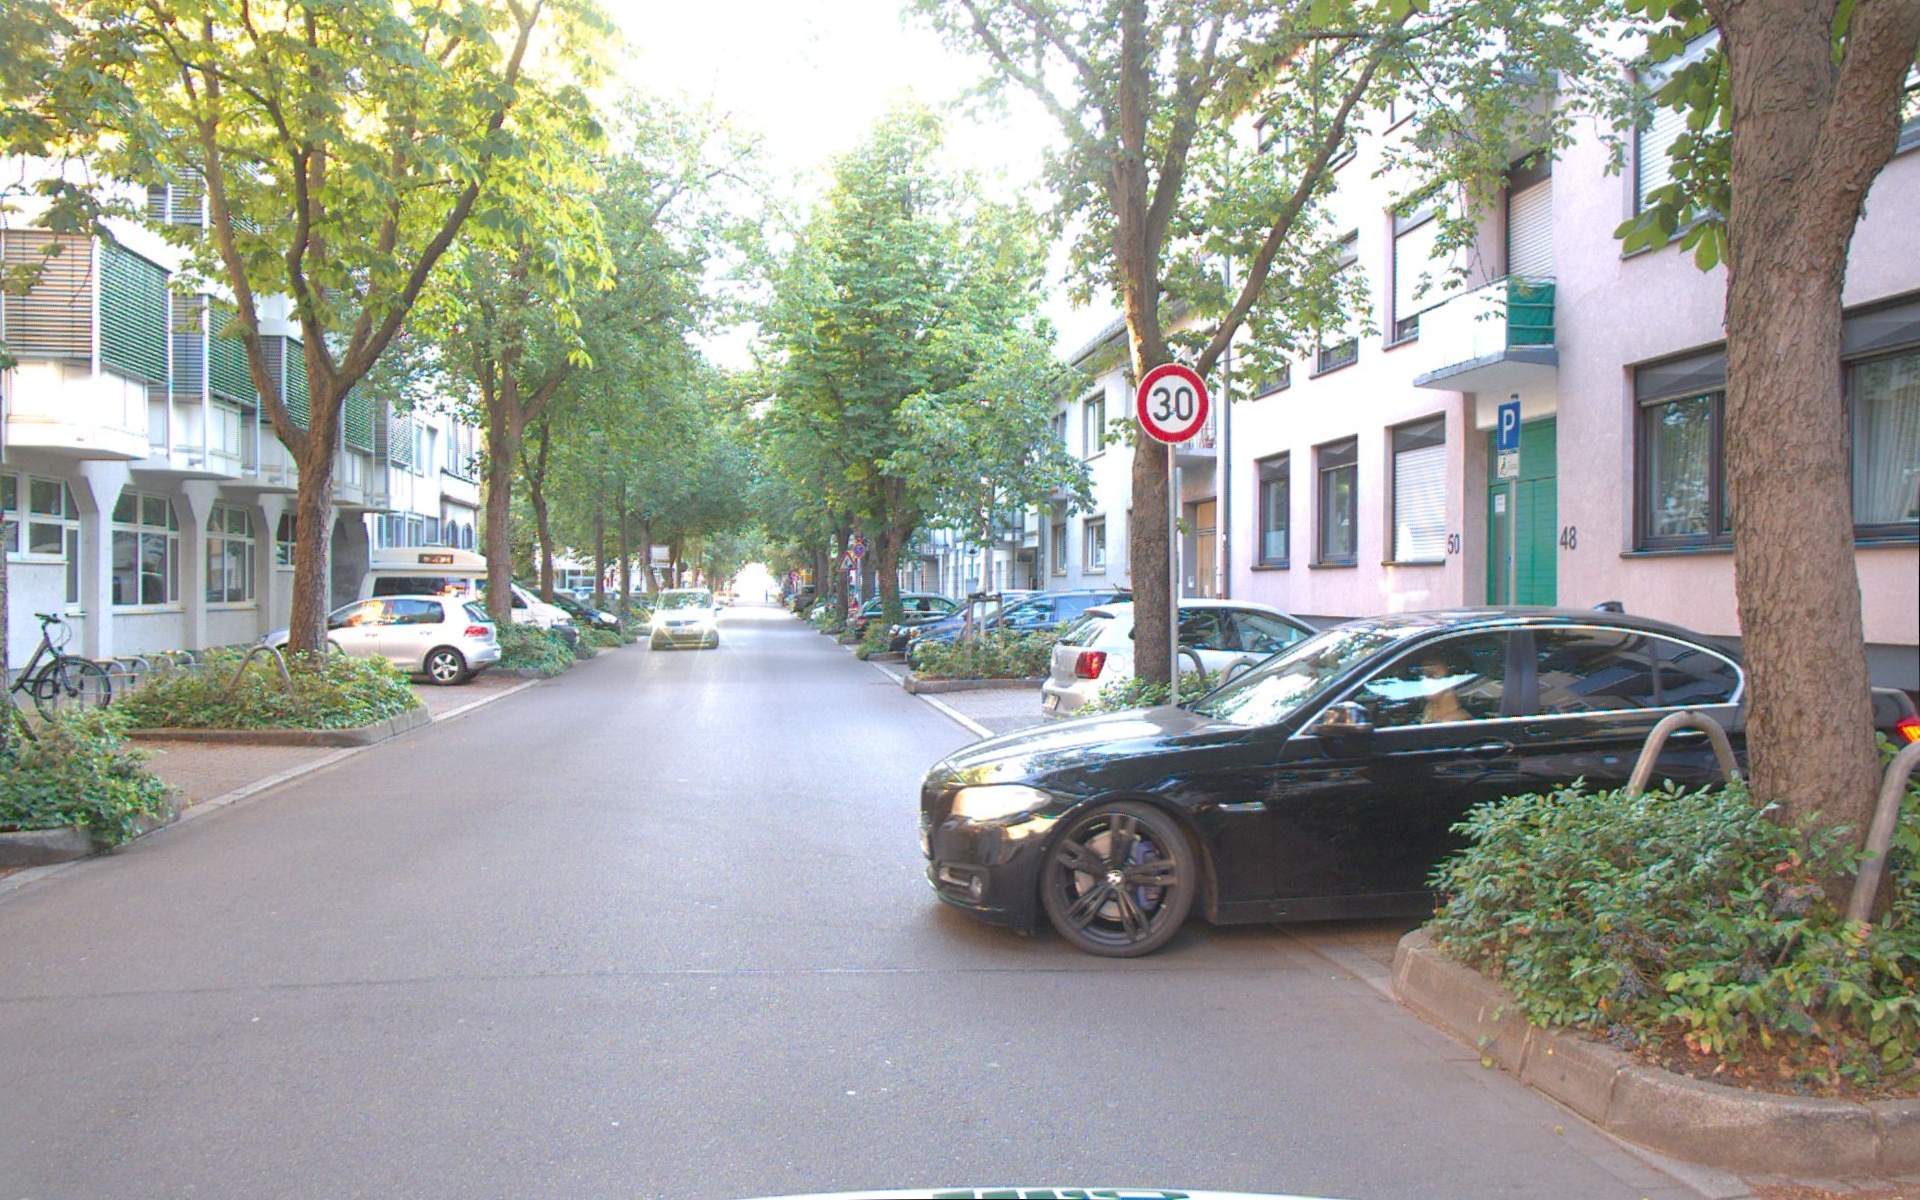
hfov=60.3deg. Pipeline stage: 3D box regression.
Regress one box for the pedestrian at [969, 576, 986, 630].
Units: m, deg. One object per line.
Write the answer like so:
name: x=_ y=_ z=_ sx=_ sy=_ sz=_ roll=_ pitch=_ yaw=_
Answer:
pedestrian: x=0.653 y=0.110 z=62.193 sx=0.577 sy=2.049 sz=0.669 roll=0 pitch=0 yaw=-6

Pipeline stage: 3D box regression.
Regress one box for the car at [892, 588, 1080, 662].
car: x=0.525 y=0.515 z=36.108 sx=3.893 sy=1.554 sz=1.782 roll=0 pitch=0 yaw=-8

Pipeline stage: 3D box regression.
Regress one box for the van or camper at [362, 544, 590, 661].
van or camper: x=-10.690 y=0.041 z=36.837 sx=4.575 sy=2.521 sz=1.997 roll=0 pitch=0 yaw=-7

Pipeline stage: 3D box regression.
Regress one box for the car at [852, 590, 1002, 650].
car: x=-0.928 y=0.524 z=44.896 sx=3.893 sy=1.554 sz=1.782 roll=0 pitch=0 yaw=-8

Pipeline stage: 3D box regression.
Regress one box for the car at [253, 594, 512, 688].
car: x=-9.879 y=0.670 z=28.535 sx=3.892 sy=1.544 sz=1.783 roll=0 pitch=0 yaw=-6

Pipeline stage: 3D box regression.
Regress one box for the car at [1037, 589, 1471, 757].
car: x=2.789 y=0.656 z=16.065 sx=3.836 sy=1.502 sz=1.661 roll=0 pitch=0 yaw=-9

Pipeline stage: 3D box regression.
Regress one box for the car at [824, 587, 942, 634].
car: x=-2.650 y=0.352 z=56.736 sx=3.894 sy=1.554 sz=1.782 roll=0 pitch=0 yaw=-9

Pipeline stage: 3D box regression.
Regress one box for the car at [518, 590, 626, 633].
car: x=-15.034 y=0.425 z=64.228 sx=3.891 sy=1.647 sz=1.783 roll=0 pitch=0 yaw=-6

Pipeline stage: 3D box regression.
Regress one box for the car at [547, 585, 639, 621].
car: x=-16.791 y=0.133 z=75.813 sx=3.891 sy=1.647 sz=1.783 roll=0 pitch=0 yaw=-6

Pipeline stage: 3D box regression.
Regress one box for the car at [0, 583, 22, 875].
car: x=-7.117 y=0.693 z=7.825 sx=4.272 sy=1.544 sz=1.782 roll=0 pitch=0 yaw=-7

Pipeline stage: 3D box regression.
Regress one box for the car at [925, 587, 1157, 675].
car: x=1.415 y=0.527 z=29.644 sx=3.894 sy=1.502 sz=1.781 roll=0 pitch=0 yaw=-9

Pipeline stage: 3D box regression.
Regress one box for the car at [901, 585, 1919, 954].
car: x=2.100 y=0.684 z=7.936 sx=4.654 sy=1.506 sz=1.798 roll=0 pitch=0 yaw=-7

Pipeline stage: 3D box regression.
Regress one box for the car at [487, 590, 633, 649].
car: x=-11.511 y=0.550 z=47.815 sx=3.892 sy=1.647 sz=1.783 roll=0 pitch=0 yaw=-6

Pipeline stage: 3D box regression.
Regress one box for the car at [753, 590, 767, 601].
car: x=-26.465 y=-0.601 z=219.012 sx=1.787 sy=1.557 sz=3.995 roll=0 pitch=0 yaw=-6

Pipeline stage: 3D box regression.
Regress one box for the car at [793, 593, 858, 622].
car: x=-8.195 y=0.453 z=100.601 sx=3.891 sy=1.713 sz=1.783 roll=0 pitch=0 yaw=-6

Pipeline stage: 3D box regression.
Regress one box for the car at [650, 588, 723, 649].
car: x=-7.463 y=0.473 z=45.445 sx=1.745 sy=1.589 sz=4.162 roll=0 pitch=0 yaw=-6
